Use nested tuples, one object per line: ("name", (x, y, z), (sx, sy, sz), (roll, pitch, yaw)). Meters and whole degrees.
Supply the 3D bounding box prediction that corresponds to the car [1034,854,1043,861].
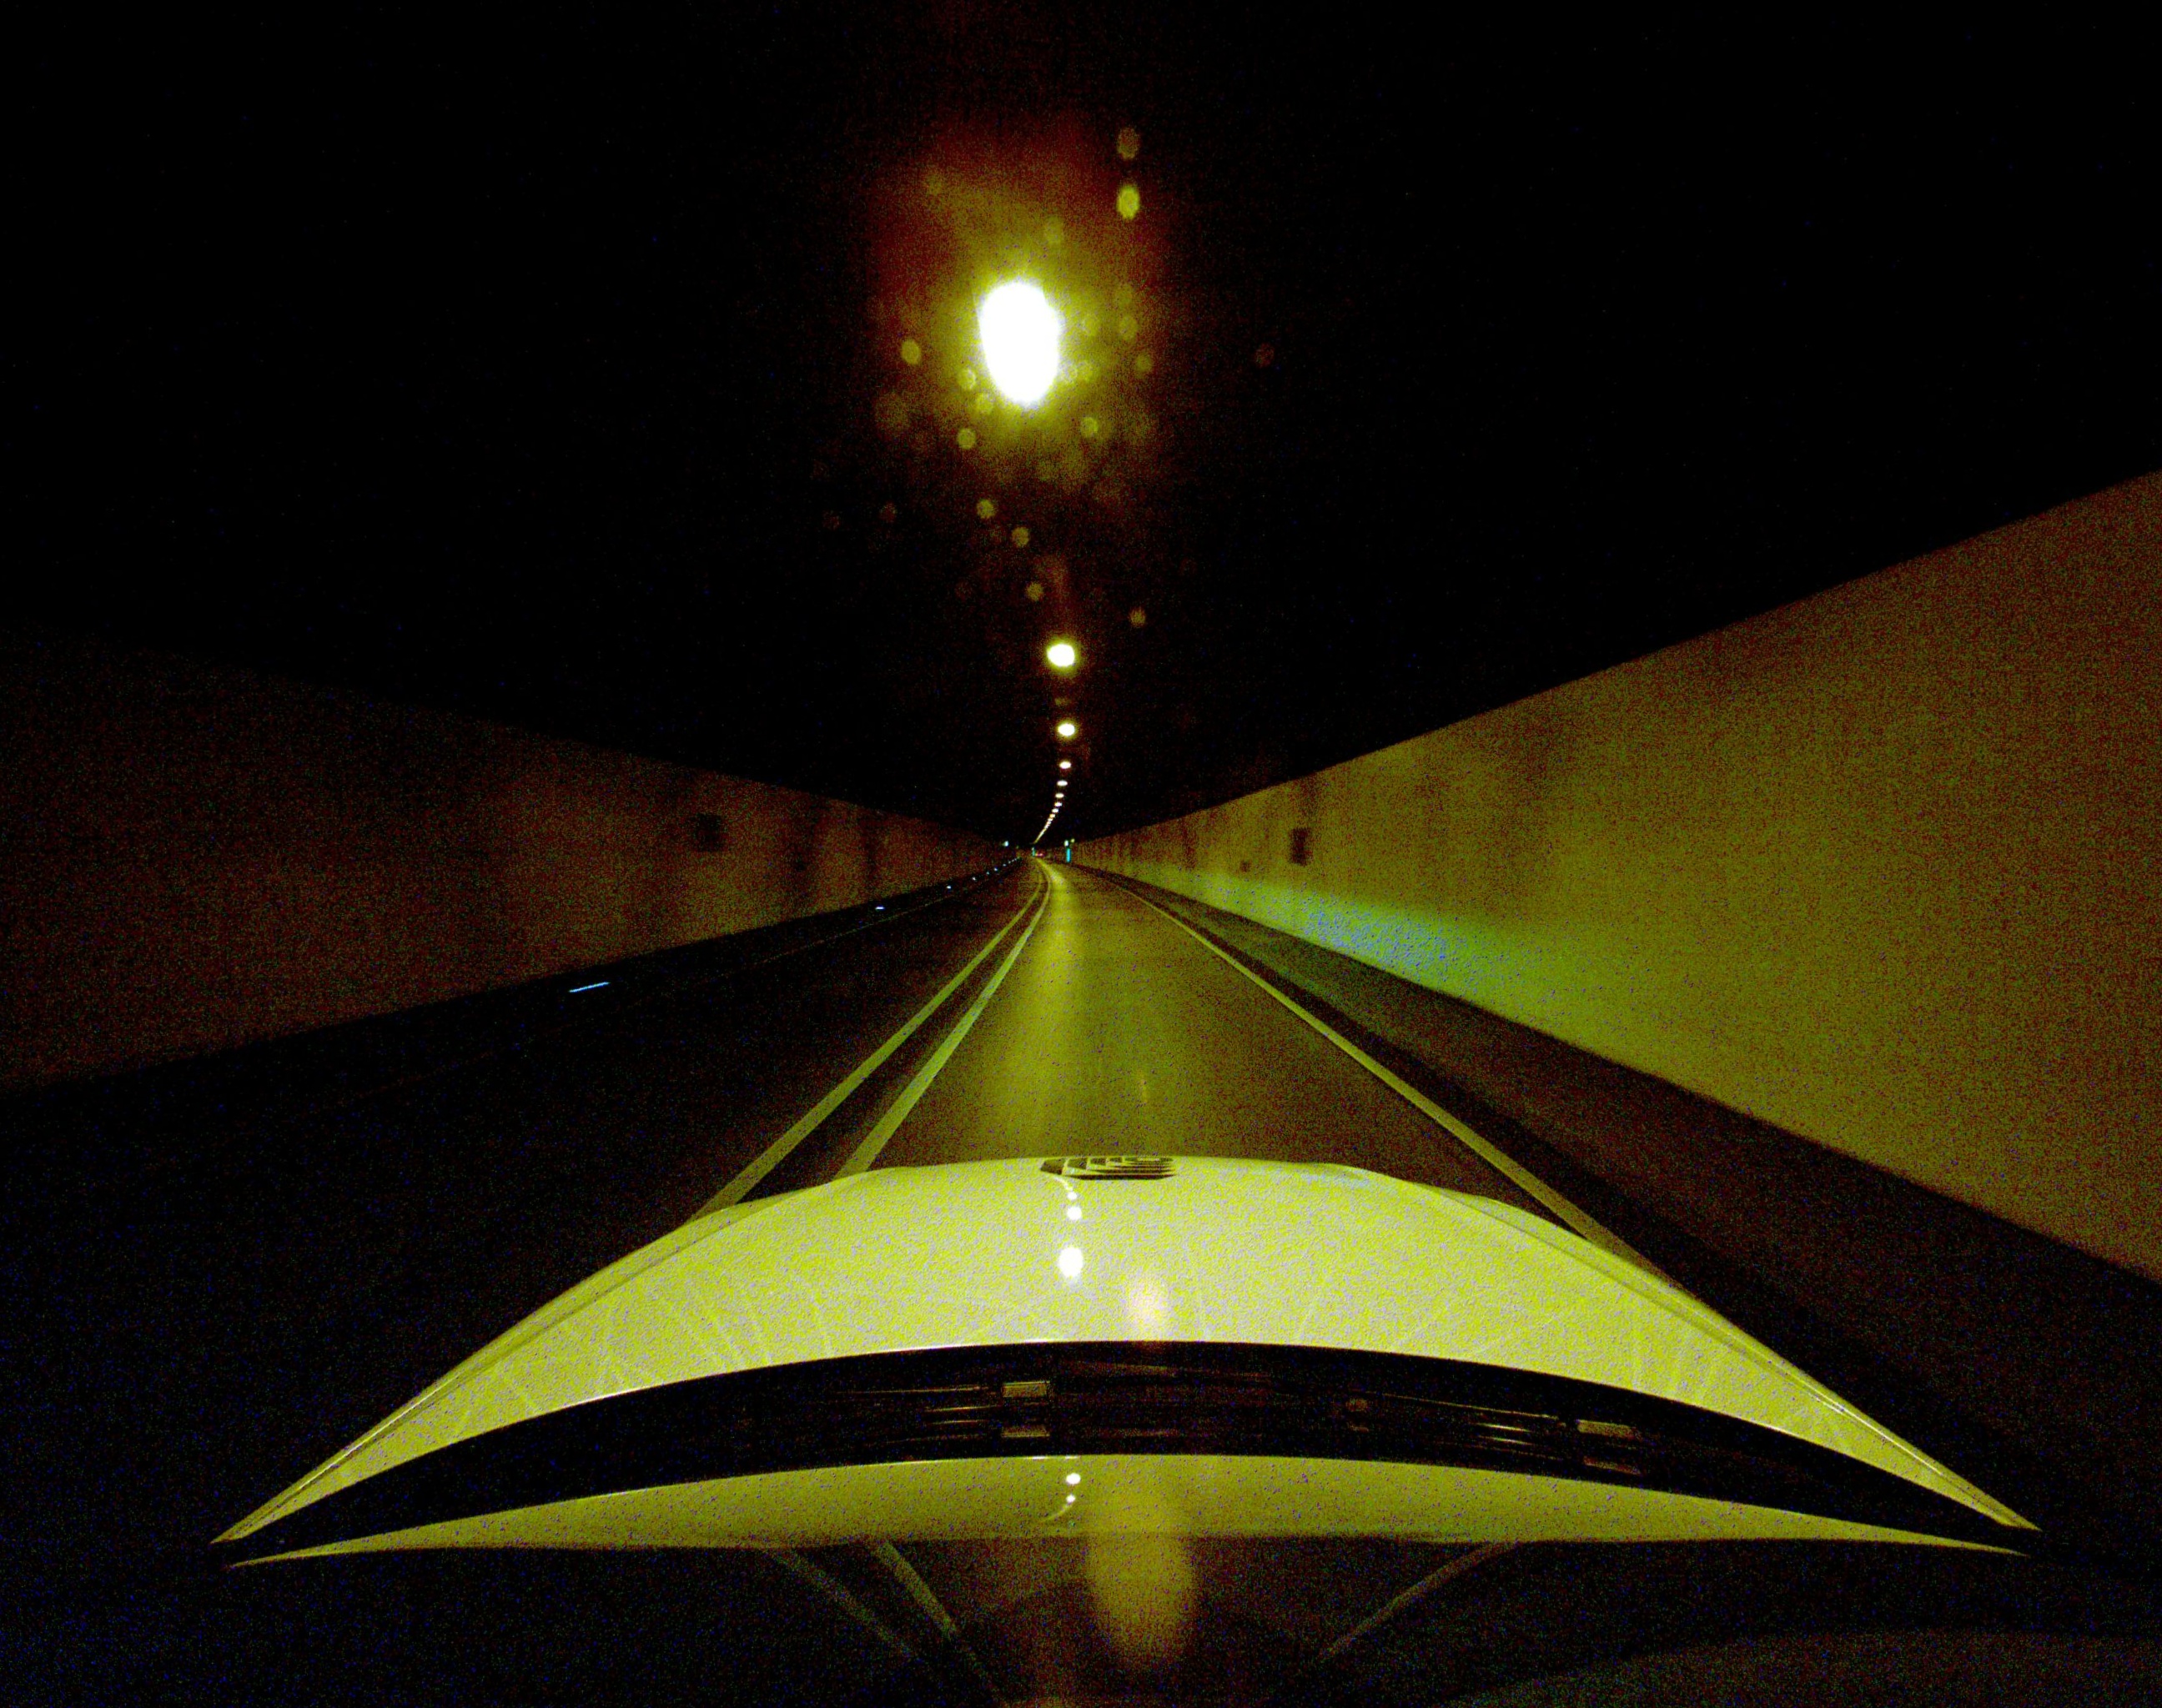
("car", (-11.455, 1.022, 218.142), (1.966, 1.939, 4.597), (0, -1, -9))
